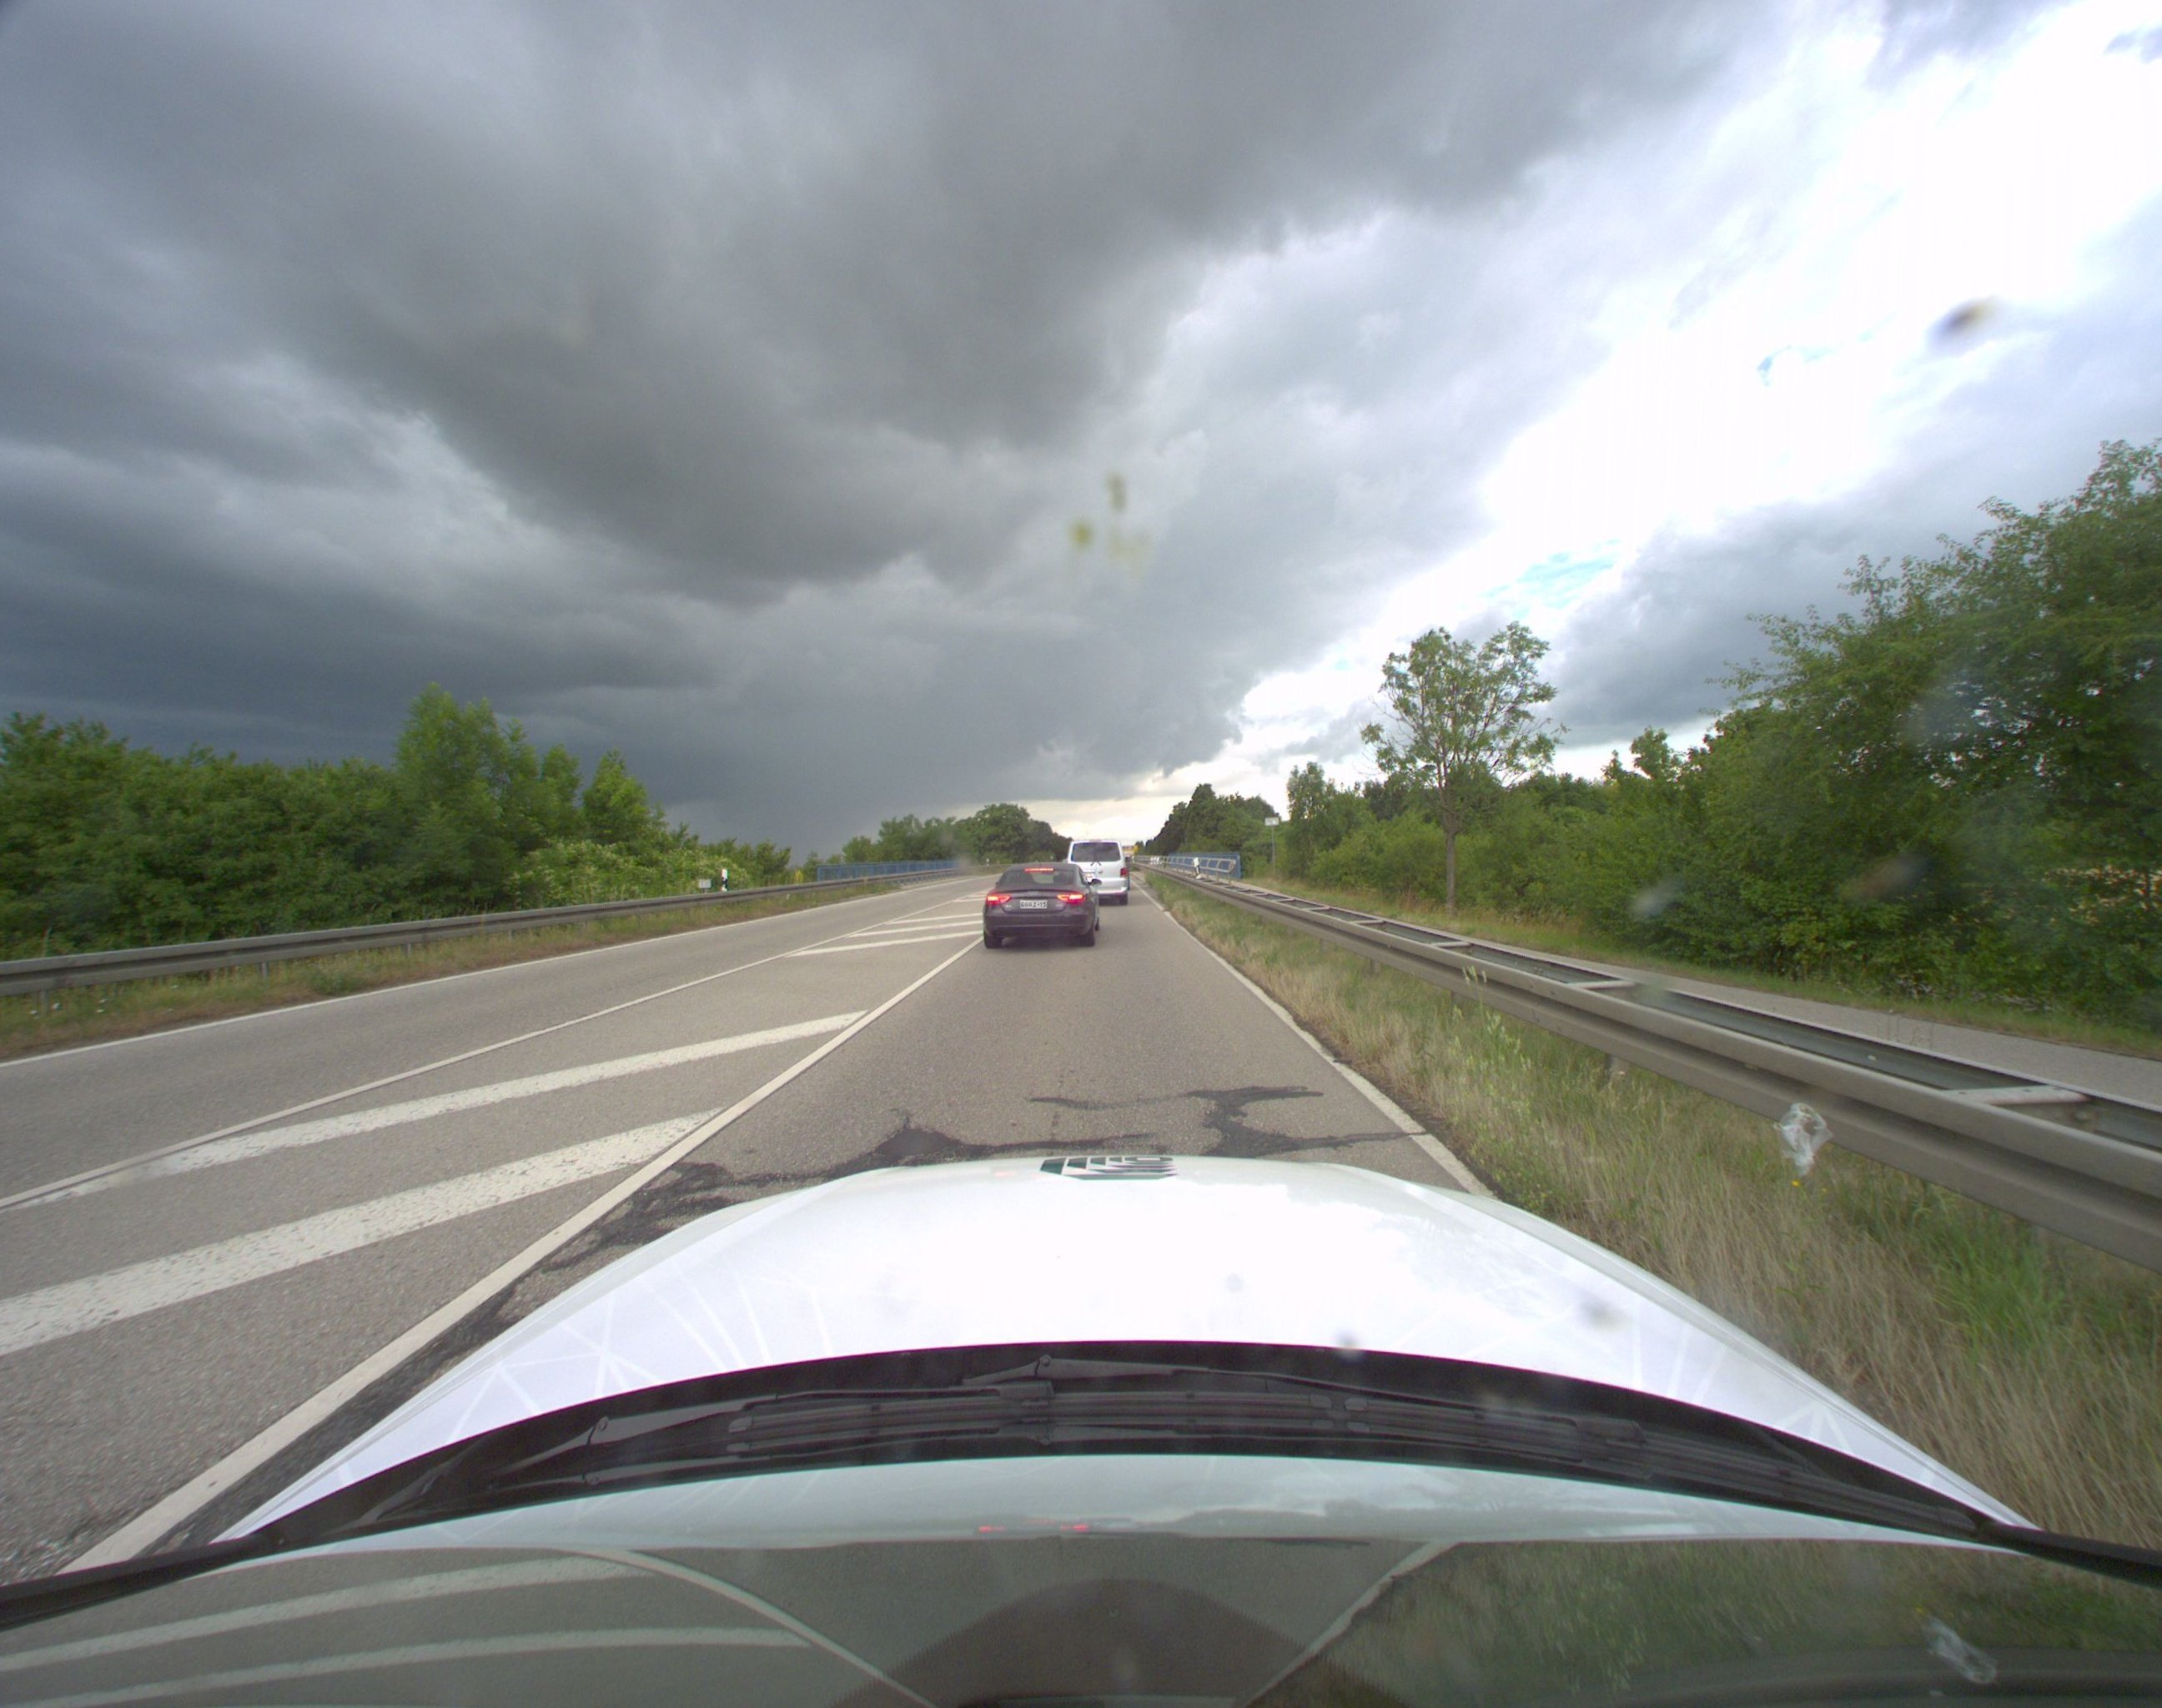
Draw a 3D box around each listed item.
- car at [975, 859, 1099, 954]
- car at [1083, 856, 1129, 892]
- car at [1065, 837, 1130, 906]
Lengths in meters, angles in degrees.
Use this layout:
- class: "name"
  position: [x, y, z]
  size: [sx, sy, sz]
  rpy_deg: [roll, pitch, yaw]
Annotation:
- class: "car"
  position: [-0.627, 0.821, 14.502]
  size: [1.815, 1.381, 4.073]
  rpy_deg: [-2, 0, 2]
- class: "car"
  position: [1.094, 0.802, 34.641]
  size: [1.814, 1.381, 4.074]
  rpy_deg: [-2, 0, 3]
- class: "car"
  position: [0.524, 0.506, 25.416]
  size: [1.822, 1.935, 4.001]
  rpy_deg: [-2, 0, 1]
